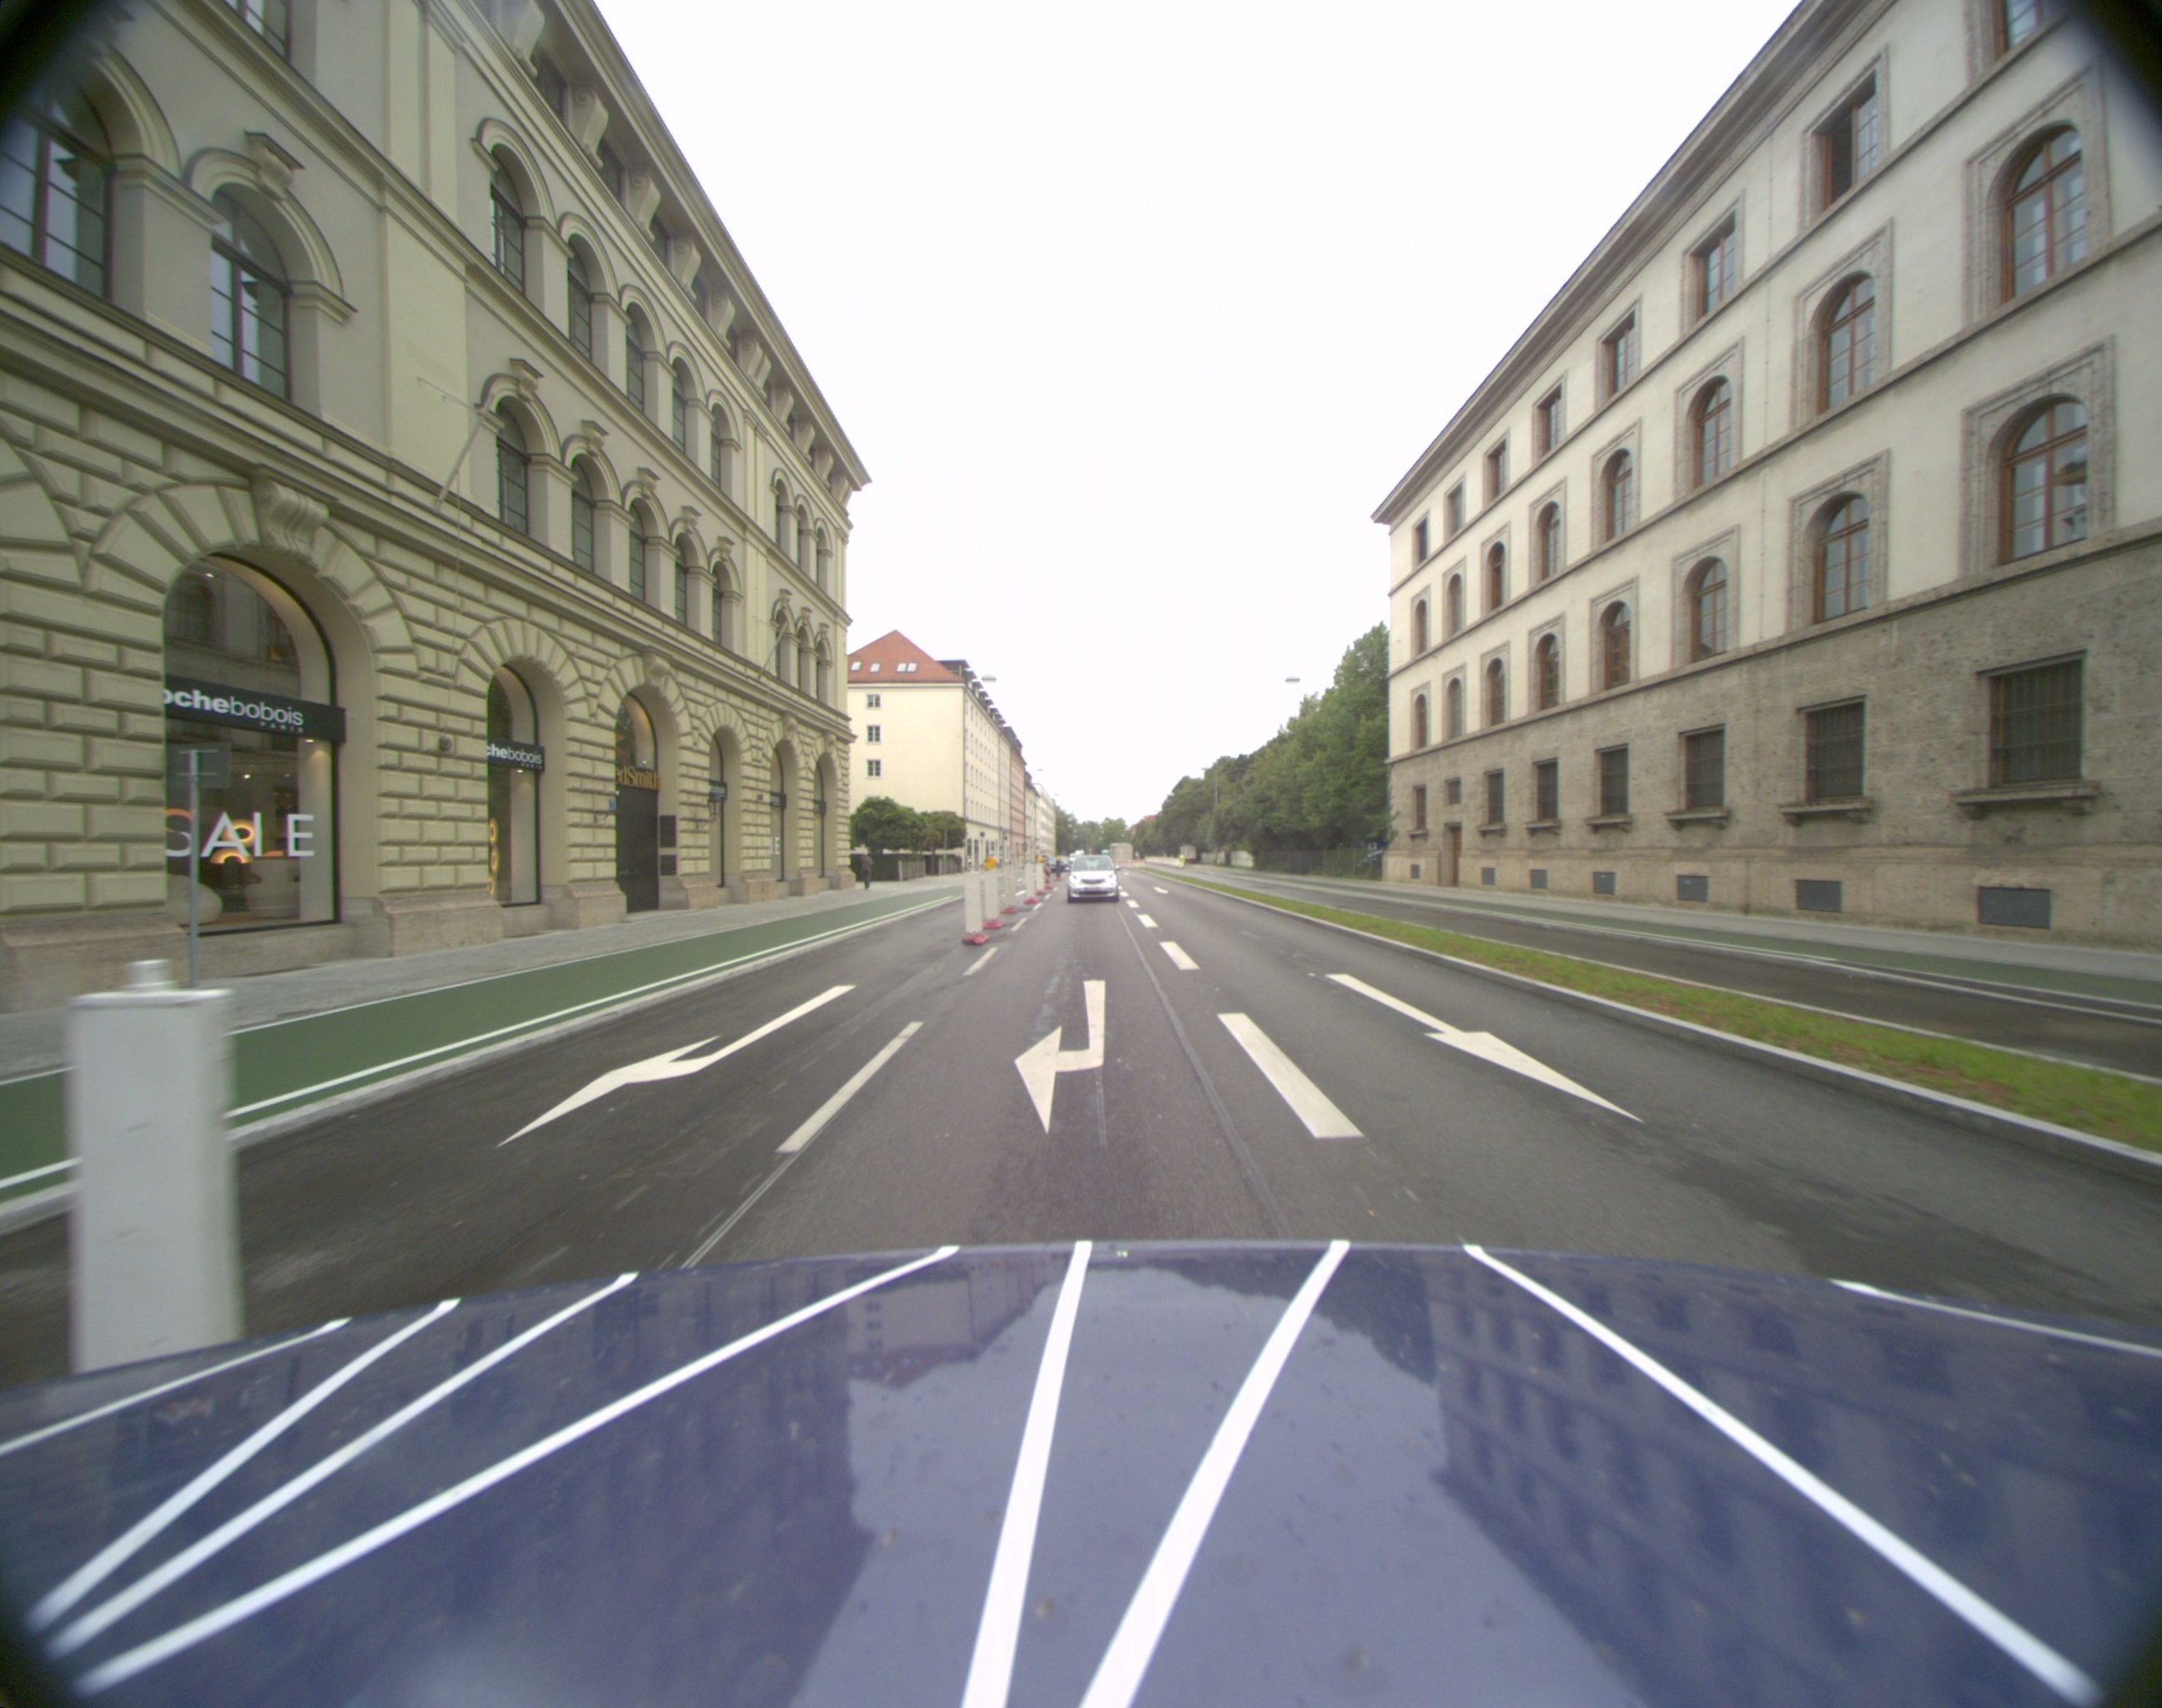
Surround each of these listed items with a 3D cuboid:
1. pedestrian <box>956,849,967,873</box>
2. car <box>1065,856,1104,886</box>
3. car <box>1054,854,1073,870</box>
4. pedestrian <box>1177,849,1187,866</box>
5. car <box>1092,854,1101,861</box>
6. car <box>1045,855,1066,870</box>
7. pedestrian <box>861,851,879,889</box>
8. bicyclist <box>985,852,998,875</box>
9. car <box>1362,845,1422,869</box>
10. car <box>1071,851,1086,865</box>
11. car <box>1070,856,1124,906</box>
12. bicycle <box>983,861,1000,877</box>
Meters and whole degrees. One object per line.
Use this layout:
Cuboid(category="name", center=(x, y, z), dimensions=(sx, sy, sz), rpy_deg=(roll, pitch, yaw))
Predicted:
Cuboid(category="pedestrian", center=(-9.441, 0.528, 60.016), dimensions=(0.655, 1.863, 0.826), rpy_deg=(1, 1, 1))
Cuboid(category="car", center=(0.186, 0.855, 40.990), dimensions=(1.922, 1.433, 4.306), rpy_deg=(-2, 0, 1))
Cuboid(category="car", center=(-1.761, 0.780, 75.996), dimensions=(1.739, 1.425, 4.000), rpy_deg=(-1, 0, 1))
Cuboid(category="pedestrian", center=(11.732, 0.388, 88.159), dimensions=(0.865, 2.002, 0.759), rpy_deg=(-1, 1, 25))
Cuboid(category="car", center=(3.237, 0.718, 161.142), dimensions=(1.739, 1.425, 4.000), rpy_deg=(-1, 0, 1))
Cuboid(category="car", center=(-2.327, 0.756, 70.703), dimensions=(1.739, 1.313, 4.000), rpy_deg=(-1, 0, 1))
Cuboid(category="pedestrian", center=(-9.434, 0.697, 33.946), dimensions=(0.634, 1.694, 1.085), rpy_deg=(0, 1, -7))
Cuboid(category="bicyclist", center=(-6.019, 0.650, 51.123), dimensions=(0.724, 1.543, 0.858), rpy_deg=(-1, 1, 0))
Cuboid(category="car", center=(24.476, 0.211, 59.916), dimensions=(4.036, 1.700, 1.875), rpy_deg=(-1, 3, 5))
Cuboid(category="car", center=(-0.327, 0.591, 109.664), dimensions=(1.998, 2.002, 4.000), rpy_deg=(0, 0, 1))
Cuboid(category="car", center=(0.511, 0.831, 25.356), dimensions=(1.633, 1.494, 4.000), rpy_deg=(-1, 0, 1))
Cuboid(category="bicycle", center=(-6.011, 0.986, 51.156), dimensions=(0.751, 1.026, 2.531), rpy_deg=(-1, 0, 1))
